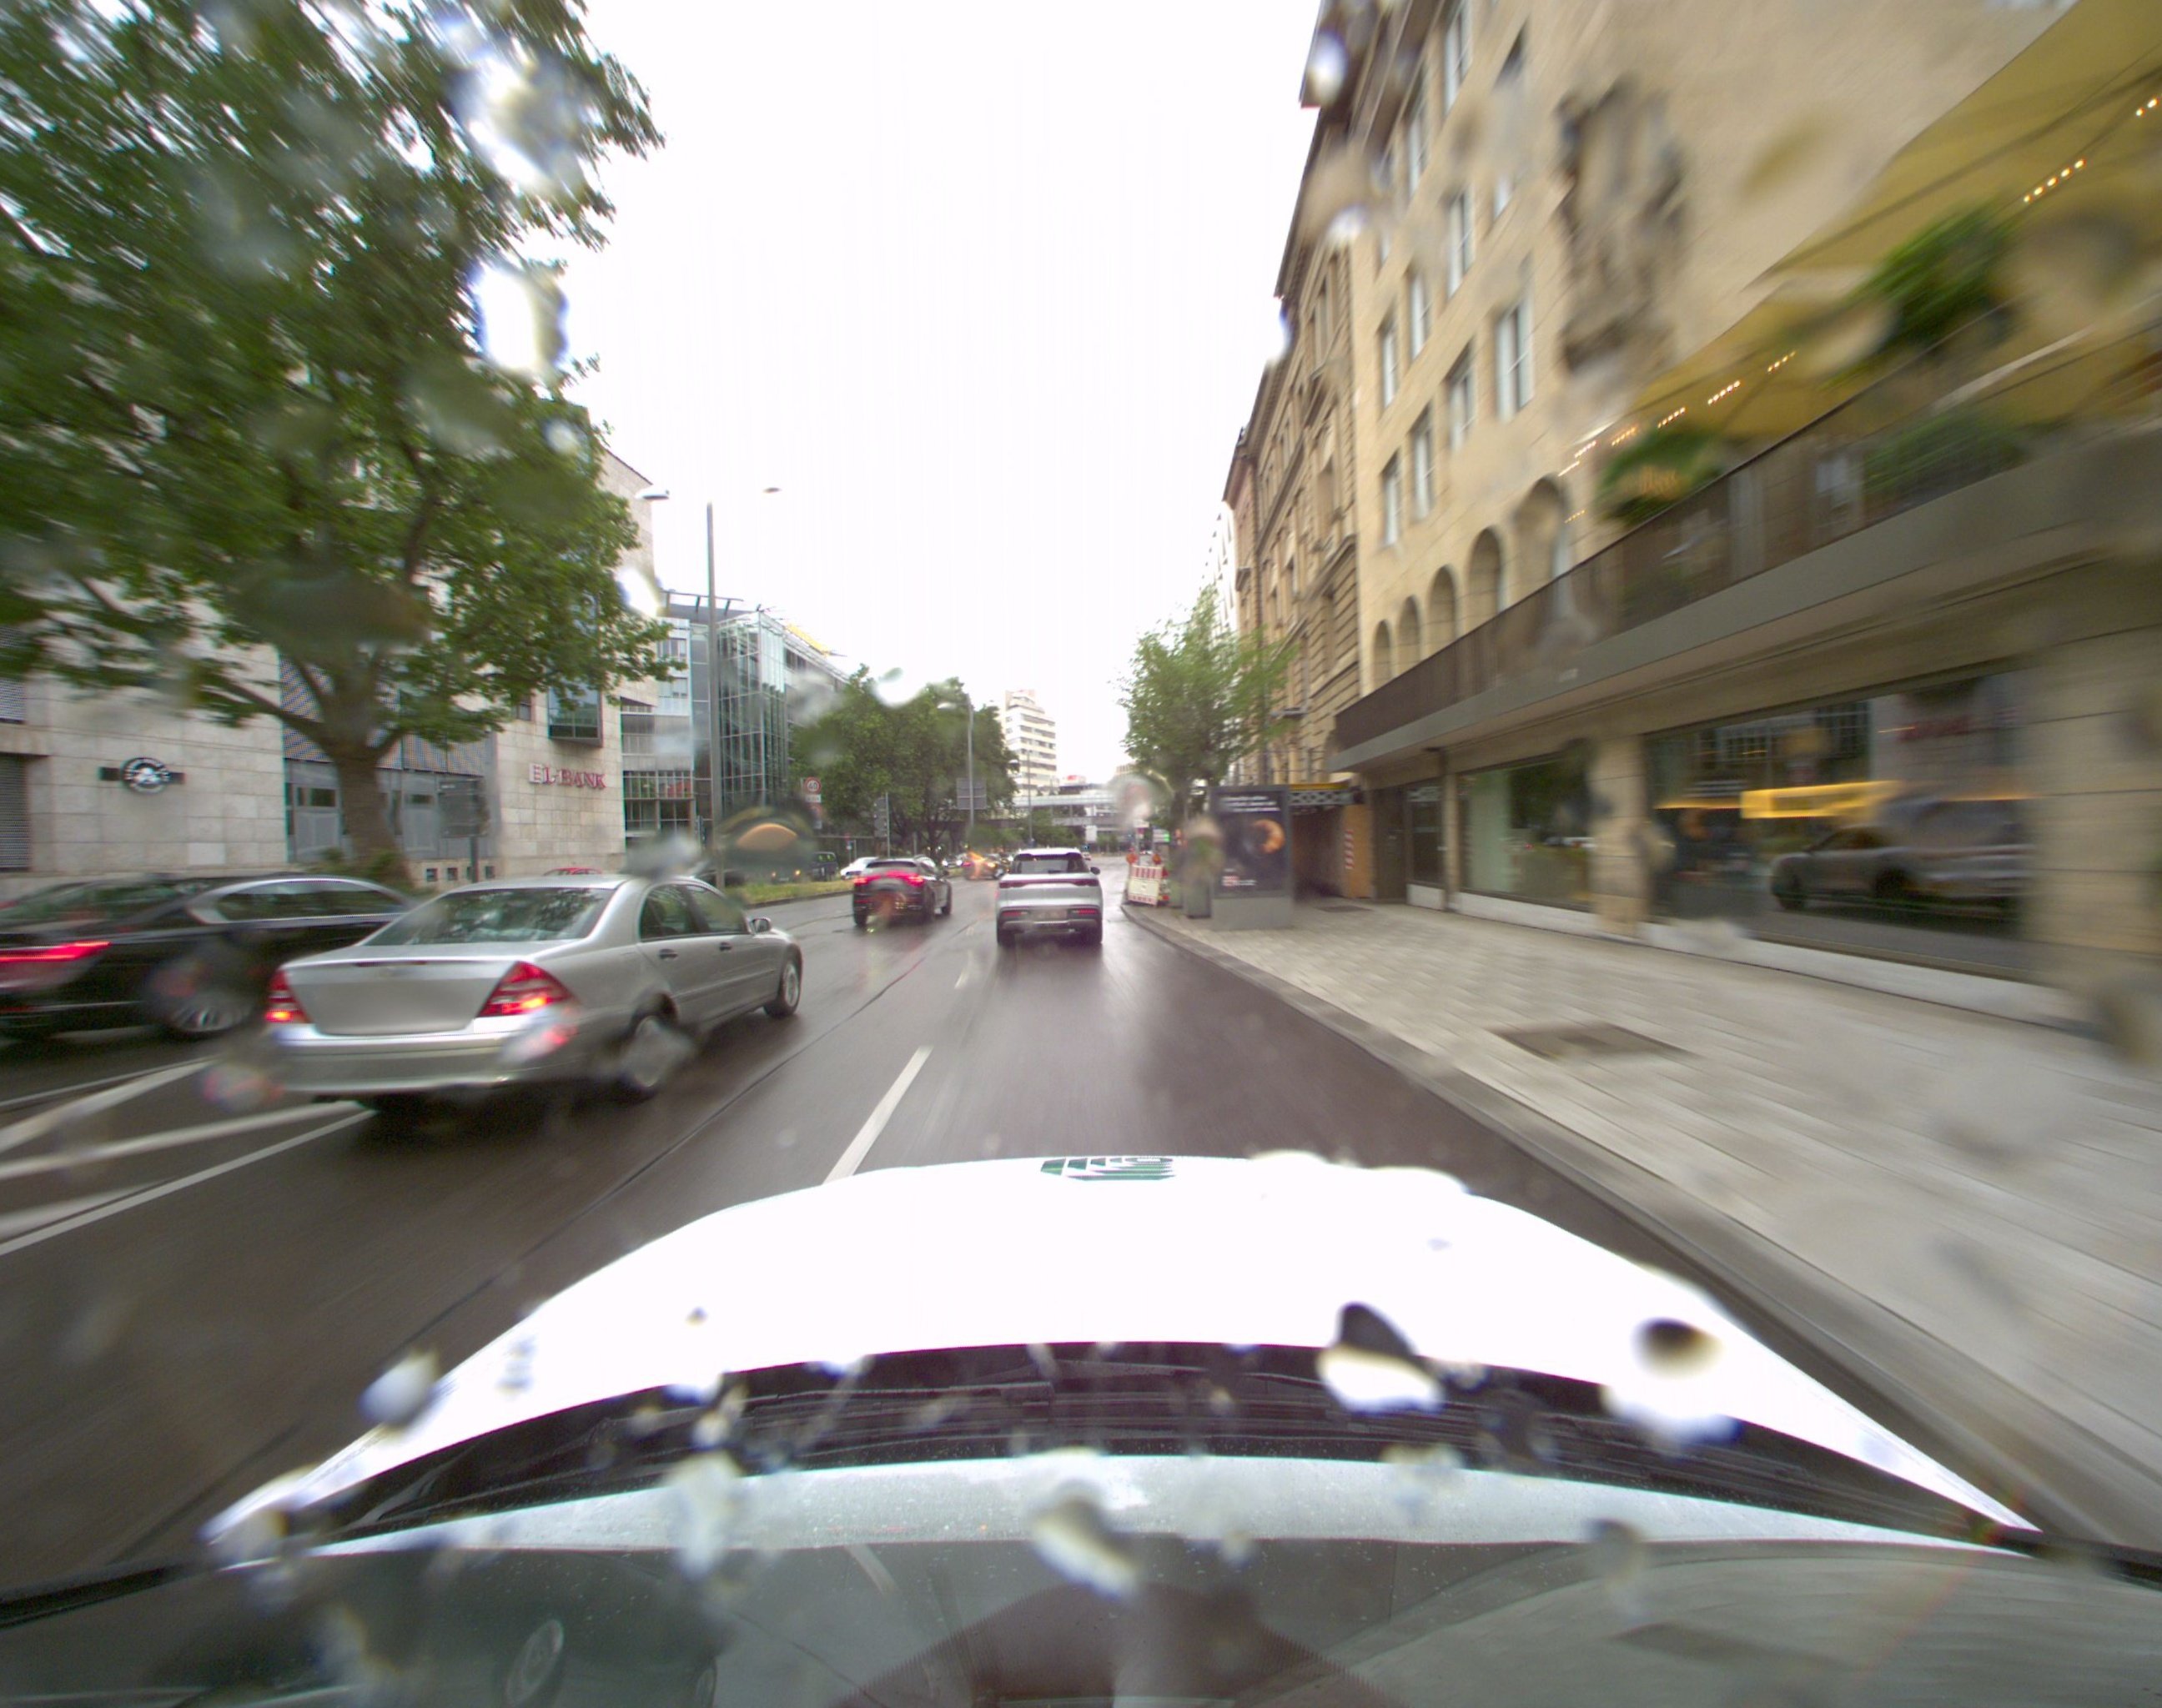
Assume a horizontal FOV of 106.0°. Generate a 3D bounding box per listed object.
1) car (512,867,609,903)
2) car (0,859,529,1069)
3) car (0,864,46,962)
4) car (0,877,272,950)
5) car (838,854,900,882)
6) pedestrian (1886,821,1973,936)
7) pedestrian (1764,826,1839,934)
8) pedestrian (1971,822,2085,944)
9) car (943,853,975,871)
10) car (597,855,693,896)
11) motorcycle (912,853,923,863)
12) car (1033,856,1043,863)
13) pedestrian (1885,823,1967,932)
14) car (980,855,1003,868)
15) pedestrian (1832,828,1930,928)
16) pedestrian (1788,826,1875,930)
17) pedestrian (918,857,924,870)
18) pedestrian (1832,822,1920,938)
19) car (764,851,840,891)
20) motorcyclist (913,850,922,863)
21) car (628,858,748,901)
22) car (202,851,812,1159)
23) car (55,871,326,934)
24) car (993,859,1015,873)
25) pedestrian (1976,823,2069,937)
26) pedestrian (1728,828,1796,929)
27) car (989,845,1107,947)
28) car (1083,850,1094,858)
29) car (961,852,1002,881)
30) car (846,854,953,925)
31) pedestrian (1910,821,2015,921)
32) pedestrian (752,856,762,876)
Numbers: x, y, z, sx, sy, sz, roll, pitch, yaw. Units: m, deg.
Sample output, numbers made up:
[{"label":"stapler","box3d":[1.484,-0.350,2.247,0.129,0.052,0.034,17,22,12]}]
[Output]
[{"label":"car","box3d":[-21.951,1.273,34.475,1.583,1.415,3.408,-1,-1,8]},{"label":"car","box3d":[-8.566,0.844,8.569,1.863,1.479,4.885,0,1,5]},{"label":"car","box3d":[-16.062,0.828,9.793,1.738,1.364,4.139,-1,-1,7]},{"label":"car","box3d":[-21.443,1.272,18.441,1.737,1.364,4.184,-1,-1,9]},{"label":"car","box3d":[-11.661,0.762,45.131,1.850,1.442,4.321,-1,-1,7]},{"label":"pedestrian","box3d":[8.203,0.229,7.884,0.340,1.073,0.478,-1,0,-10]},{"label":"pedestrian","box3d":[7.389,0.253,8.362,0.328,1.073,0.479,-1,0,-5]},{"label":"pedestrian","box3d":[8.657,0.244,7.447,0.625,1.055,0.602,-1,0,-33]},{"label":"car","box3d":[-10.075,0.680,67.486,1.692,1.437,4.587,-1,-1,4]},{"label":"car","box3d":[-18.790,0.887,35.330,1.824,1.639,4.094,-1,-1,2]},{"label":"motorcycle","box3d":[-15.741,0.391,78.481,0.691,0.970,1.398,-1,0,5]},{"label":"car","box3d":[-9.335,1.189,177.805,1.589,1.360,4.123,-1,-1,6]},{"label":"pedestrian","box3d":[8.561,0.225,8.259,0.328,1.073,0.478,-1,0,-10]},{"label":"car","box3d":[-9.368,0.784,85.818,1.589,1.360,4.123,-1,-1,6]},{"label":"pedestrian","box3d":[8.767,0.255,8.945,0.551,1.055,0.546,0,0,6]},{"label":"pedestrian","box3d":[8.012,0.243,8.705,0.432,1.073,0.538,-1,0,-10]},{"label":"pedestrian","box3d":[-23.229,1.384,118.231,0.719,1.807,0.618,-1,0,3]},{"label":"pedestrian","box3d":[7.551,0.233,7.754,0.538,1.055,0.411,0,0,34]},{"label":"car","box3d":[-15.064,0.896,44.347,1.821,2.002,5.114,-1,-1,7]},{"label":"motorcyclist","box3d":[-15.737,0.211,78.422,0.671,1.238,0.620,-1,0,4]},{"label":"car","box3d":[-13.368,0.834,27.979,1.737,1.364,3.953,-1,-1,9]},{"label":"car","box3d":[-3.568,0.737,6.242,1.668,1.479,4.357,-1,1,-2]},{"label":"car","box3d":[-23.458,1.223,21.786,1.737,1.415,4.715,-1,-1,8]},{"label":"car","box3d":[-9.384,1.456,99.349,1.866,1.680,4.685,-1,-1,3]},{"label":"pedestrian","box3d":[9.198,0.238,7.960,0.481,1.055,0.558,-1,0,-36]},{"label":"pedestrian","box3d":[7.466,0.258,8.936,0.328,1.073,0.479,-1,0,-5]},{"label":"car","box3d":[-0.630,0.666,15.033,1.897,1.621,3.995,0,0,-3]},{"label":"car","box3d":[1.364,-0.004,148.519,1.645,1.342,4.006,-1,0,5]},{"label":"car","box3d":[-5.589,0.665,46.152,1.805,1.578,4.000,-1,0,1]},{"label":"car","box3d":[-4.146,0.765,19.174,1.770,1.457,3.995,-1,-1,-3]},{"label":"pedestrian","box3d":[9.576,0.181,8.864,0.551,1.055,0.546,0,0,6]},{"label":"pedestrian","box3d":[-25.917,0.974,65.122,0.668,1.570,0.816,-1,1,-19]}]
